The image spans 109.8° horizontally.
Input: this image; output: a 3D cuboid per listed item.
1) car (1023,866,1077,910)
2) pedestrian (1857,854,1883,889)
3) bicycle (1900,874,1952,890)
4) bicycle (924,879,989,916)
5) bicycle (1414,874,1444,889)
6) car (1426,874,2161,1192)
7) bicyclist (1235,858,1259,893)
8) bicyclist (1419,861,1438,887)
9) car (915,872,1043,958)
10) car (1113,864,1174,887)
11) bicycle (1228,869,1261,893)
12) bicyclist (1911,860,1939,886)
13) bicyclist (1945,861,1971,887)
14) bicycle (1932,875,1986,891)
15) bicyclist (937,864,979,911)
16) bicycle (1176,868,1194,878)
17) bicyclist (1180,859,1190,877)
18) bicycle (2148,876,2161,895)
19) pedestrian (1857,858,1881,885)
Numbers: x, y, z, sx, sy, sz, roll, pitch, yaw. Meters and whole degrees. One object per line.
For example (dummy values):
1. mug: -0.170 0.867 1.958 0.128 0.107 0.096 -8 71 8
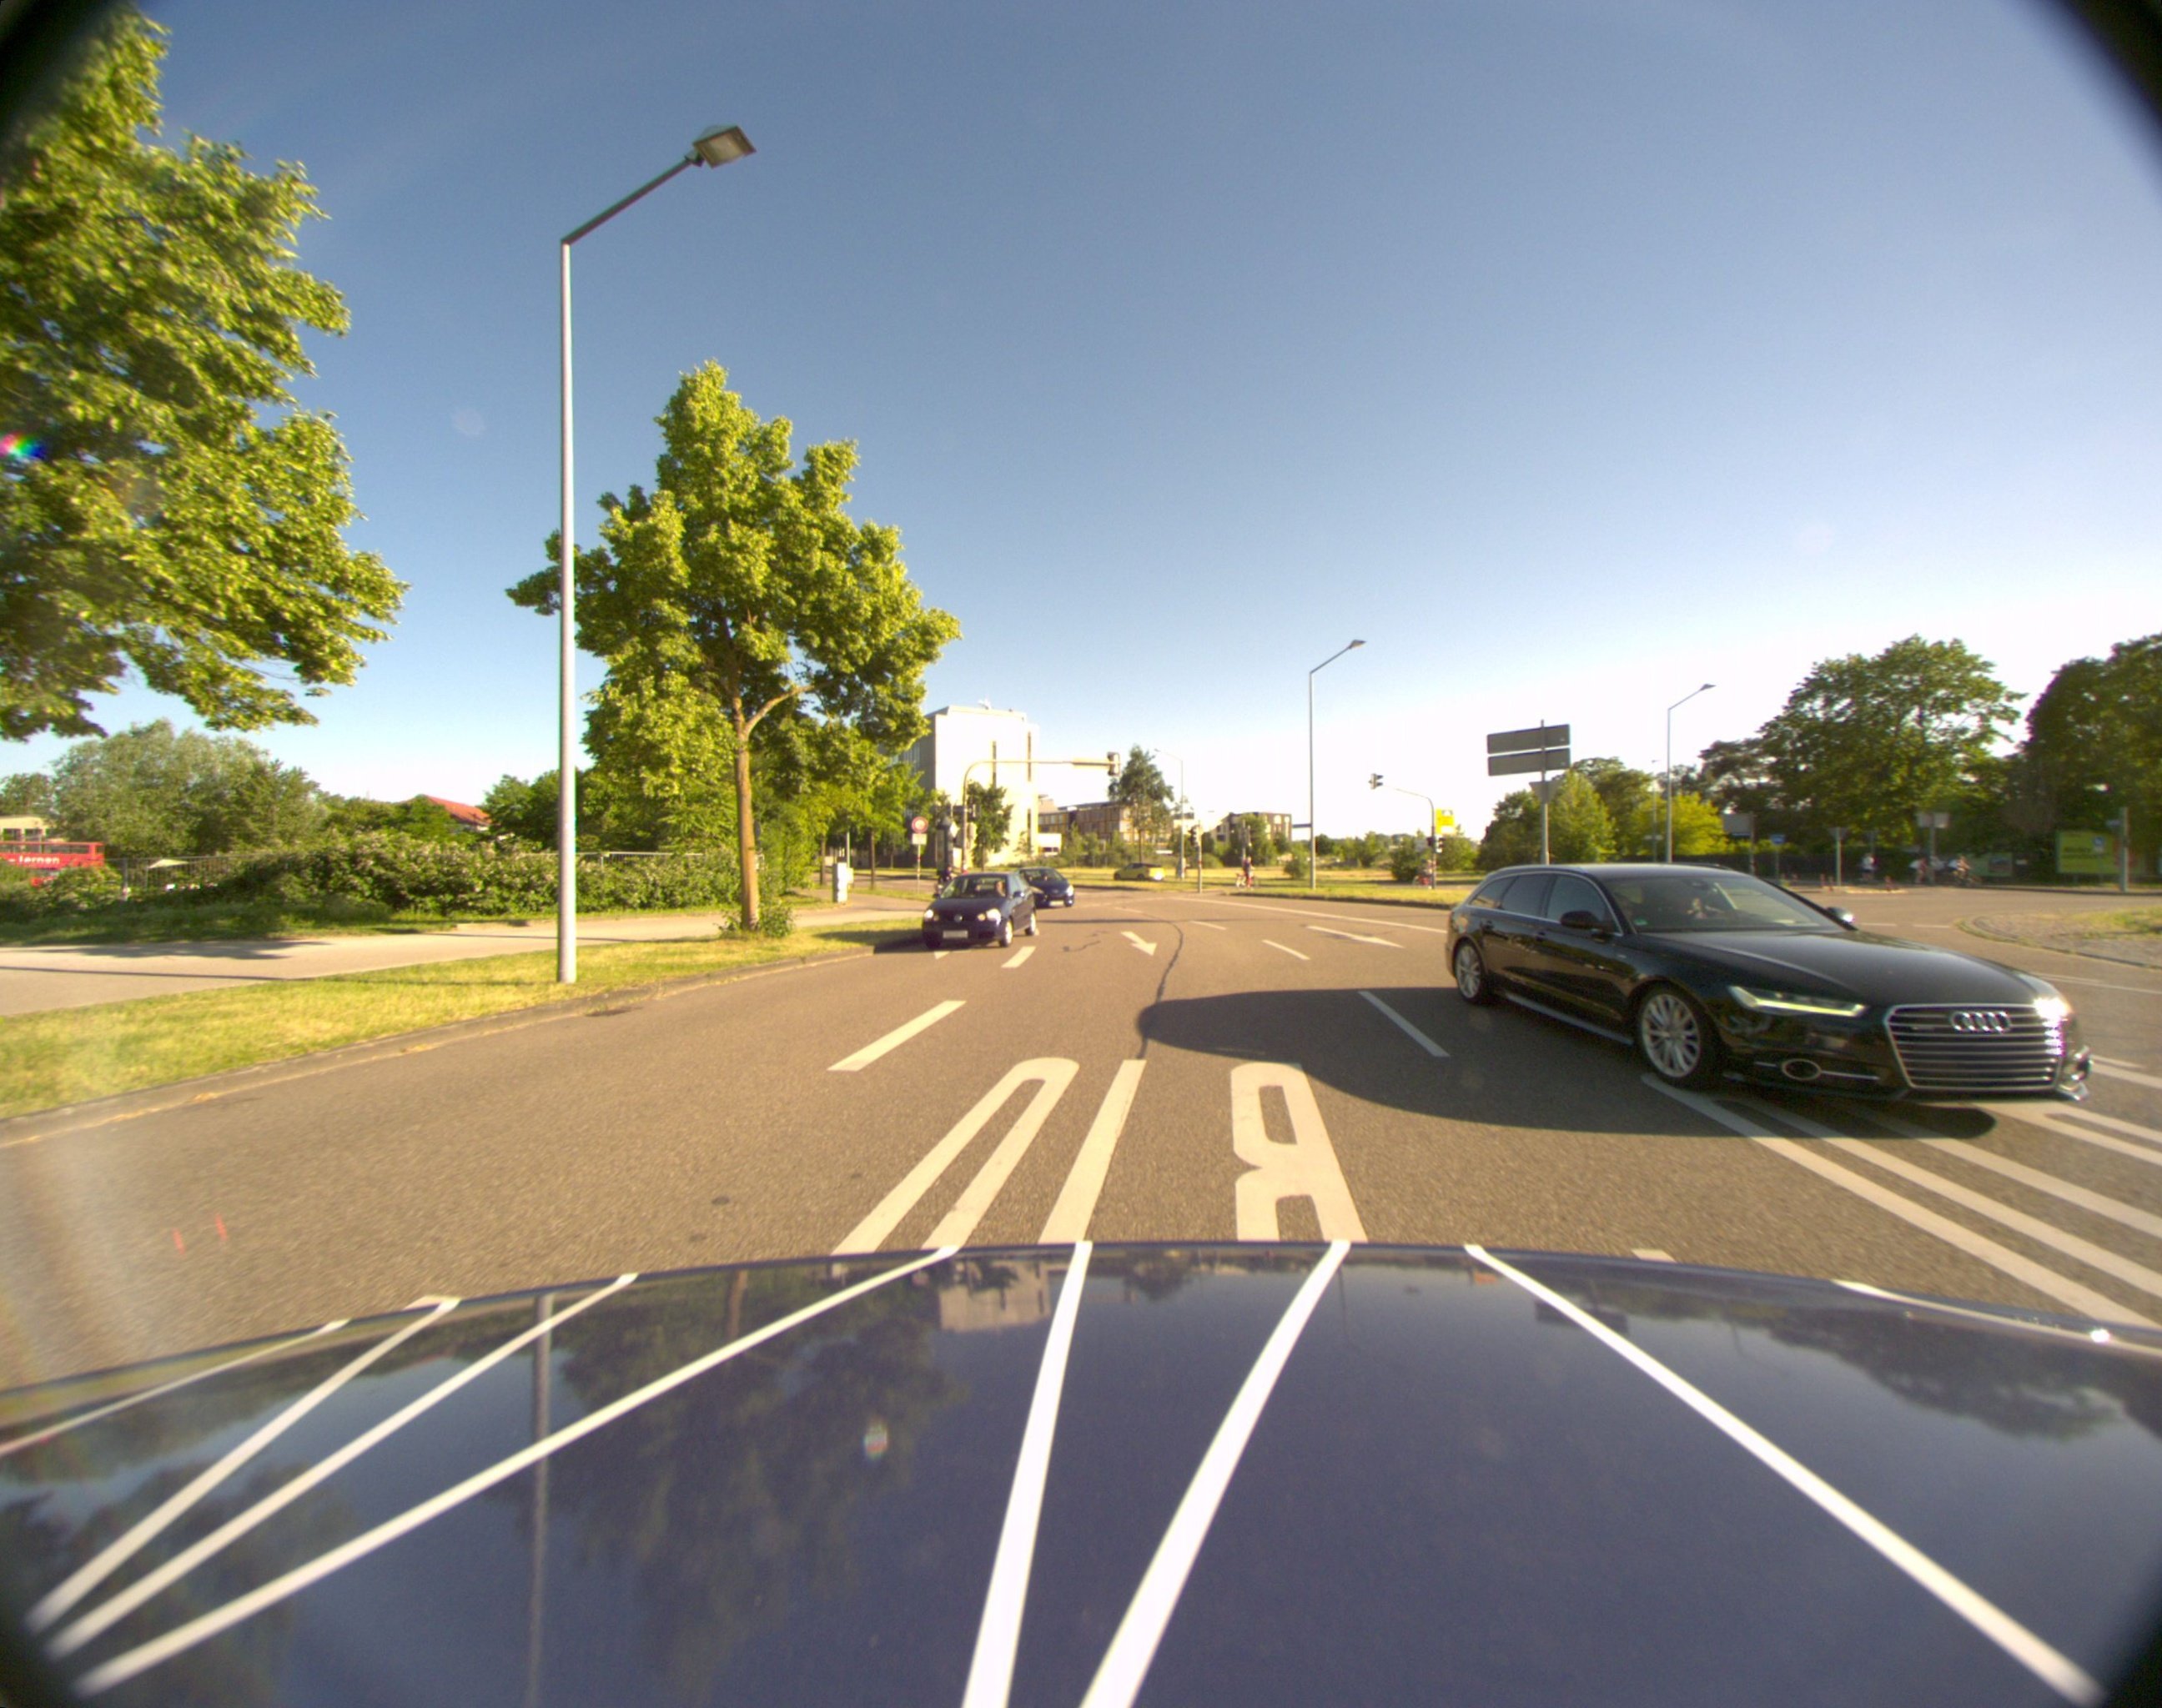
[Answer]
1. car: -1.229 1.239 28.799 1.758 1.446 3.998 -2 0 -6
2. pedestrian: 46.471 1.028 44.772 0.941 1.994 0.590 0 0 30
3. bicycle: 47.038 1.545 42.304 1.885 0.847 0.618 0 0 18
4. bicycle: -4.218 1.459 25.984 0.874 1.148 2.221 2 0 34
5. bicycle: 20.895 1.656 45.595 1.892 0.847 0.616 0 0 -27
6. car: 4.733 0.937 6.179 1.796 1.434 5.019 -1 0 3
7. bicyclist: 8.114 1.030 37.176 0.945 1.654 0.702 -1 2 -43
8. bicyclist: 20.848 1.195 45.565 0.927 1.508 0.616 0 0 -27
9. car: -1.974 1.165 16.093 1.636 1.459 4.548 -1 0 6
10. car: 4.460 1.488 54.439 2.013 1.532 4.313 0 0 -36
11. bicycle: 7.973 1.300 37.039 1.659 1.122 0.702 -1 2 -43
12. bicyclist: 46.975 1.052 42.305 0.836 1.384 0.618 0 0 18
13. bicyclist: 47.611 1.072 41.243 0.717 1.384 0.618 0 0 18
14. bicycle: 47.634 1.566 41.247 1.885 0.847 0.618 0 0 18
15. bicyclist: -4.203 1.131 26.003 0.874 1.553 1.090 2 0 34
16. bicycle: 9.204 1.688 67.332 0.492 0.847 1.884 0 0 -29
17. bicyclist: 9.240 1.235 67.270 0.433 1.555 0.850 0 0 -29
18. bicycle: 57.893 1.666 39.773 2.256 0.982 0.664 0 0 40
19. pedestrian: 59.200 1.303 57.086 0.900 2.002 0.819 1 1 9
